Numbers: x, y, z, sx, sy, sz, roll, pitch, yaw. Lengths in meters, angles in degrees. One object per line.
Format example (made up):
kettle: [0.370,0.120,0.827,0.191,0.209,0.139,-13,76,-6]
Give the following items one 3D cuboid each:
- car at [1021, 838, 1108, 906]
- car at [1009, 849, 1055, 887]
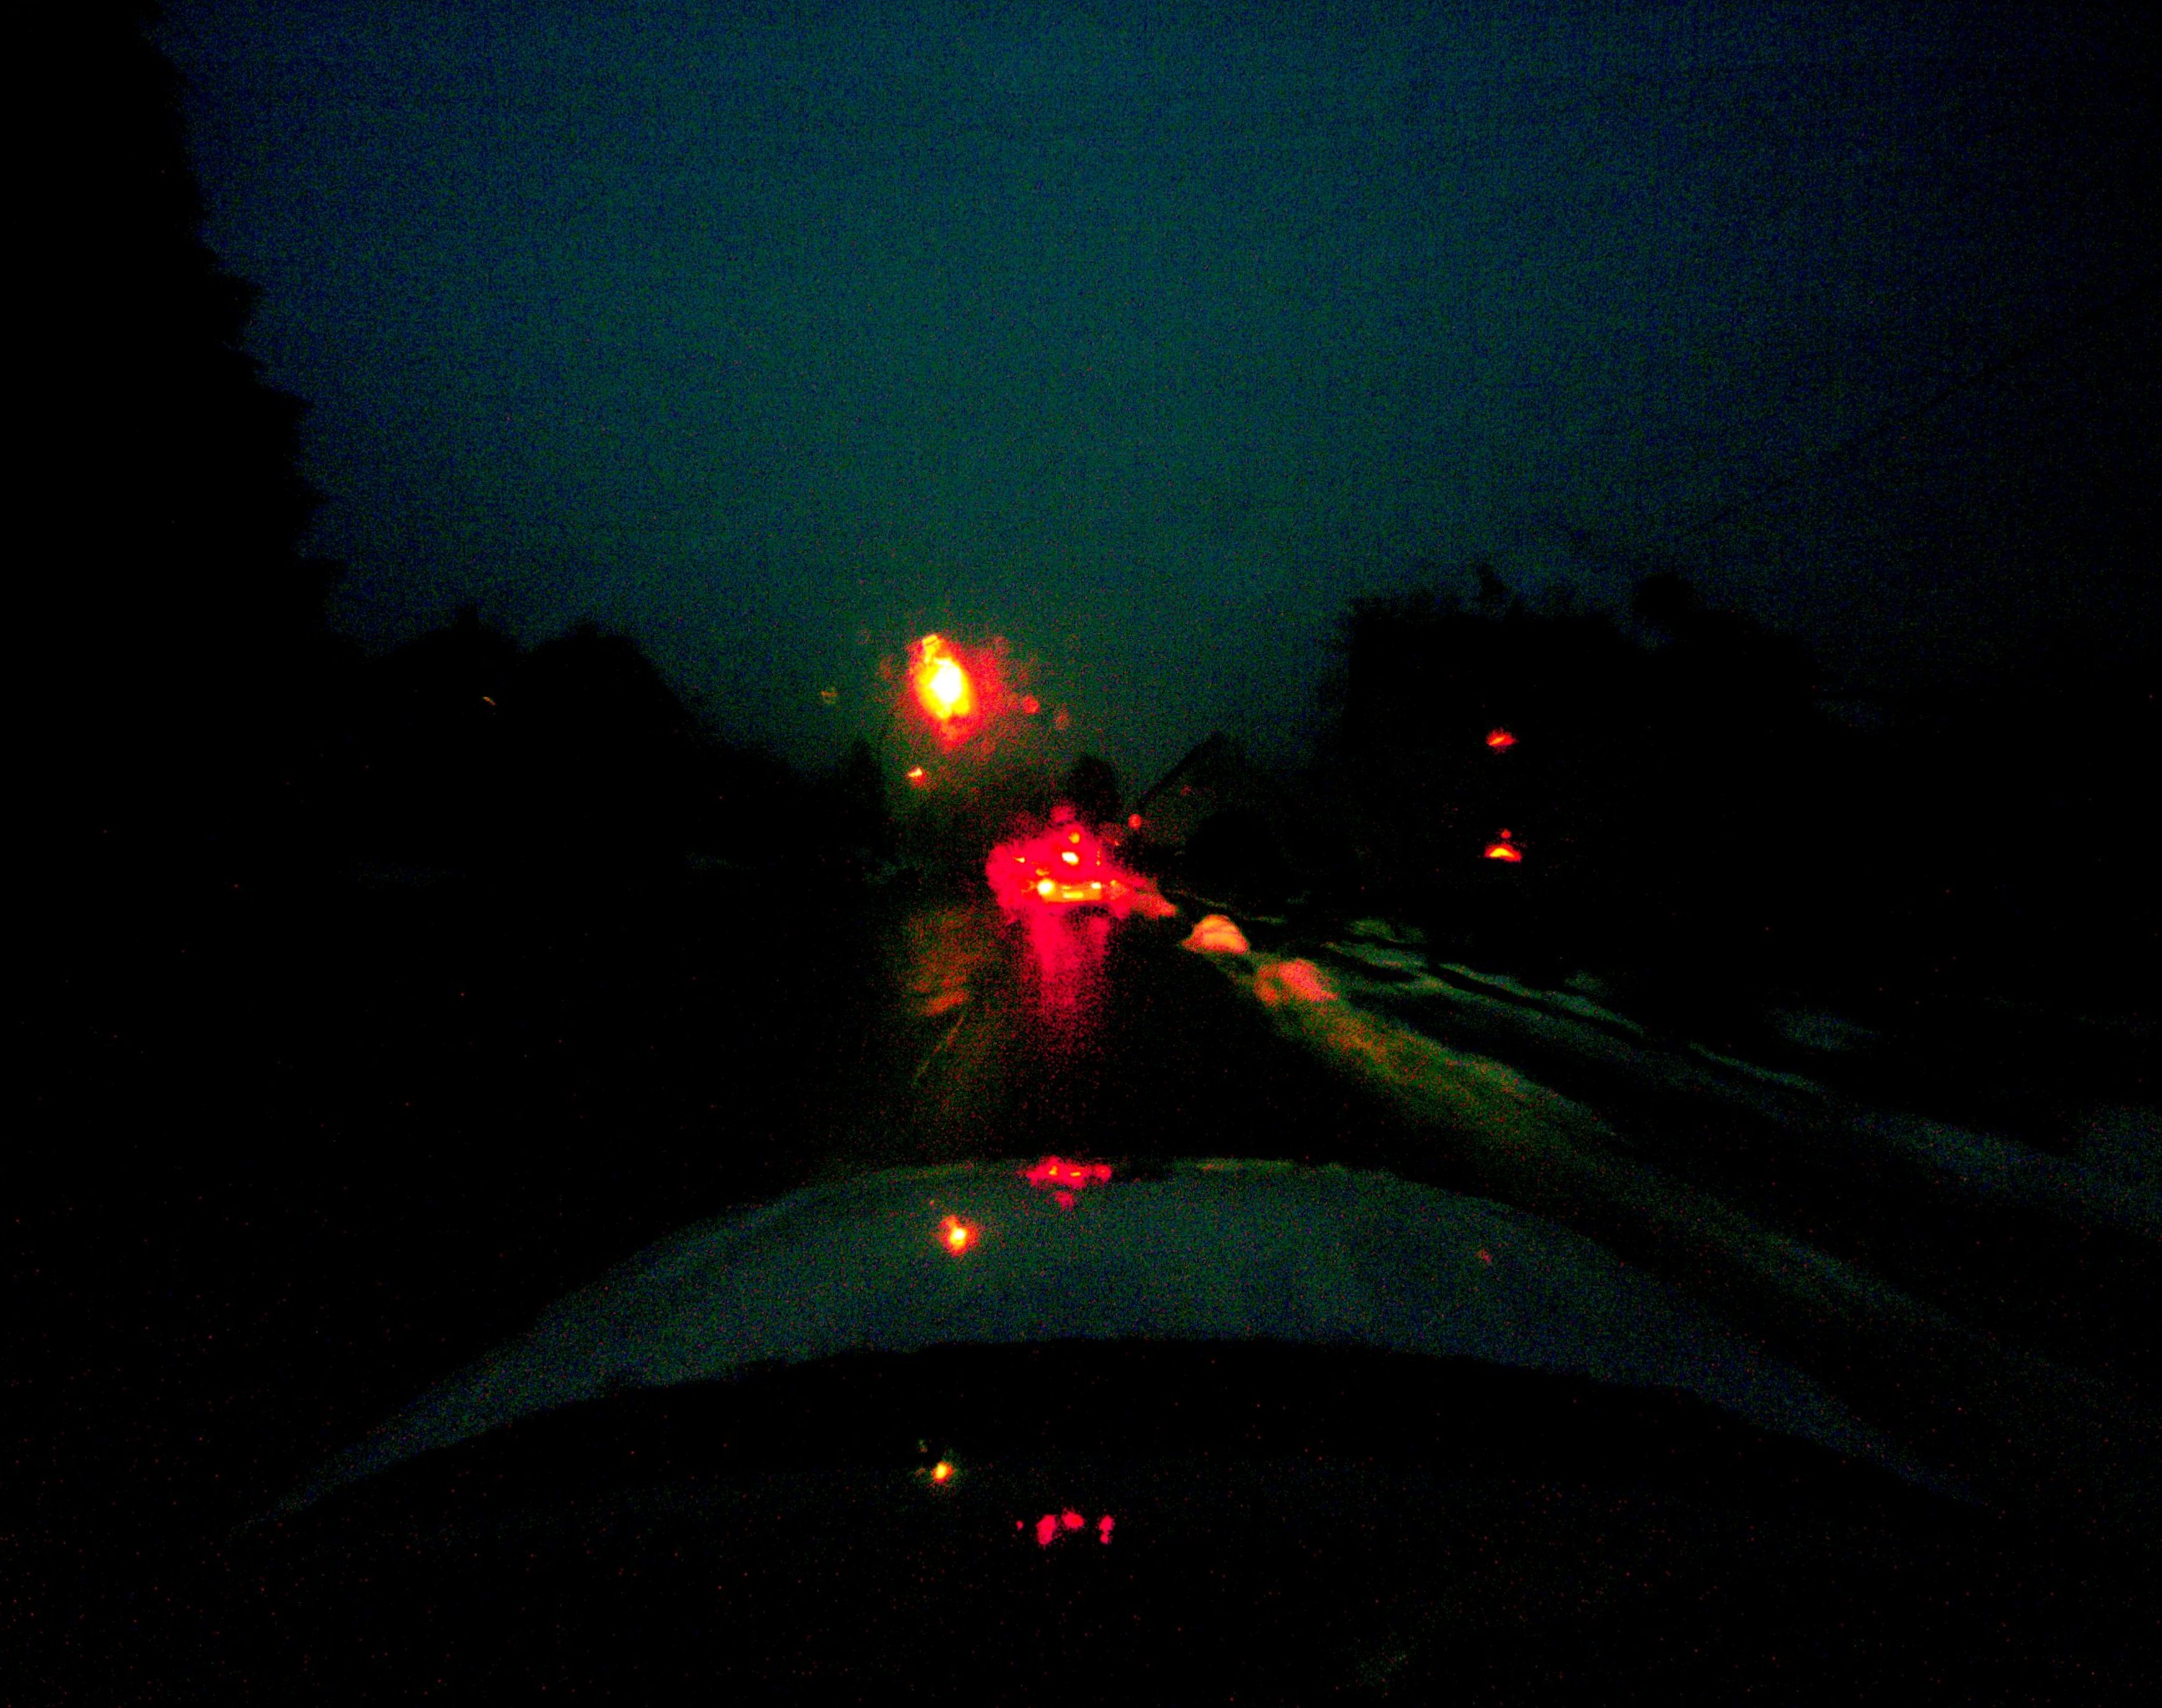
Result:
car: [-0.547,0.475,21.743,1.896,1.609,3.989,-1,-1,-7]
car: [-2.448,0.671,39.968,1.991,1.737,3.869,-1,-1,-7]
